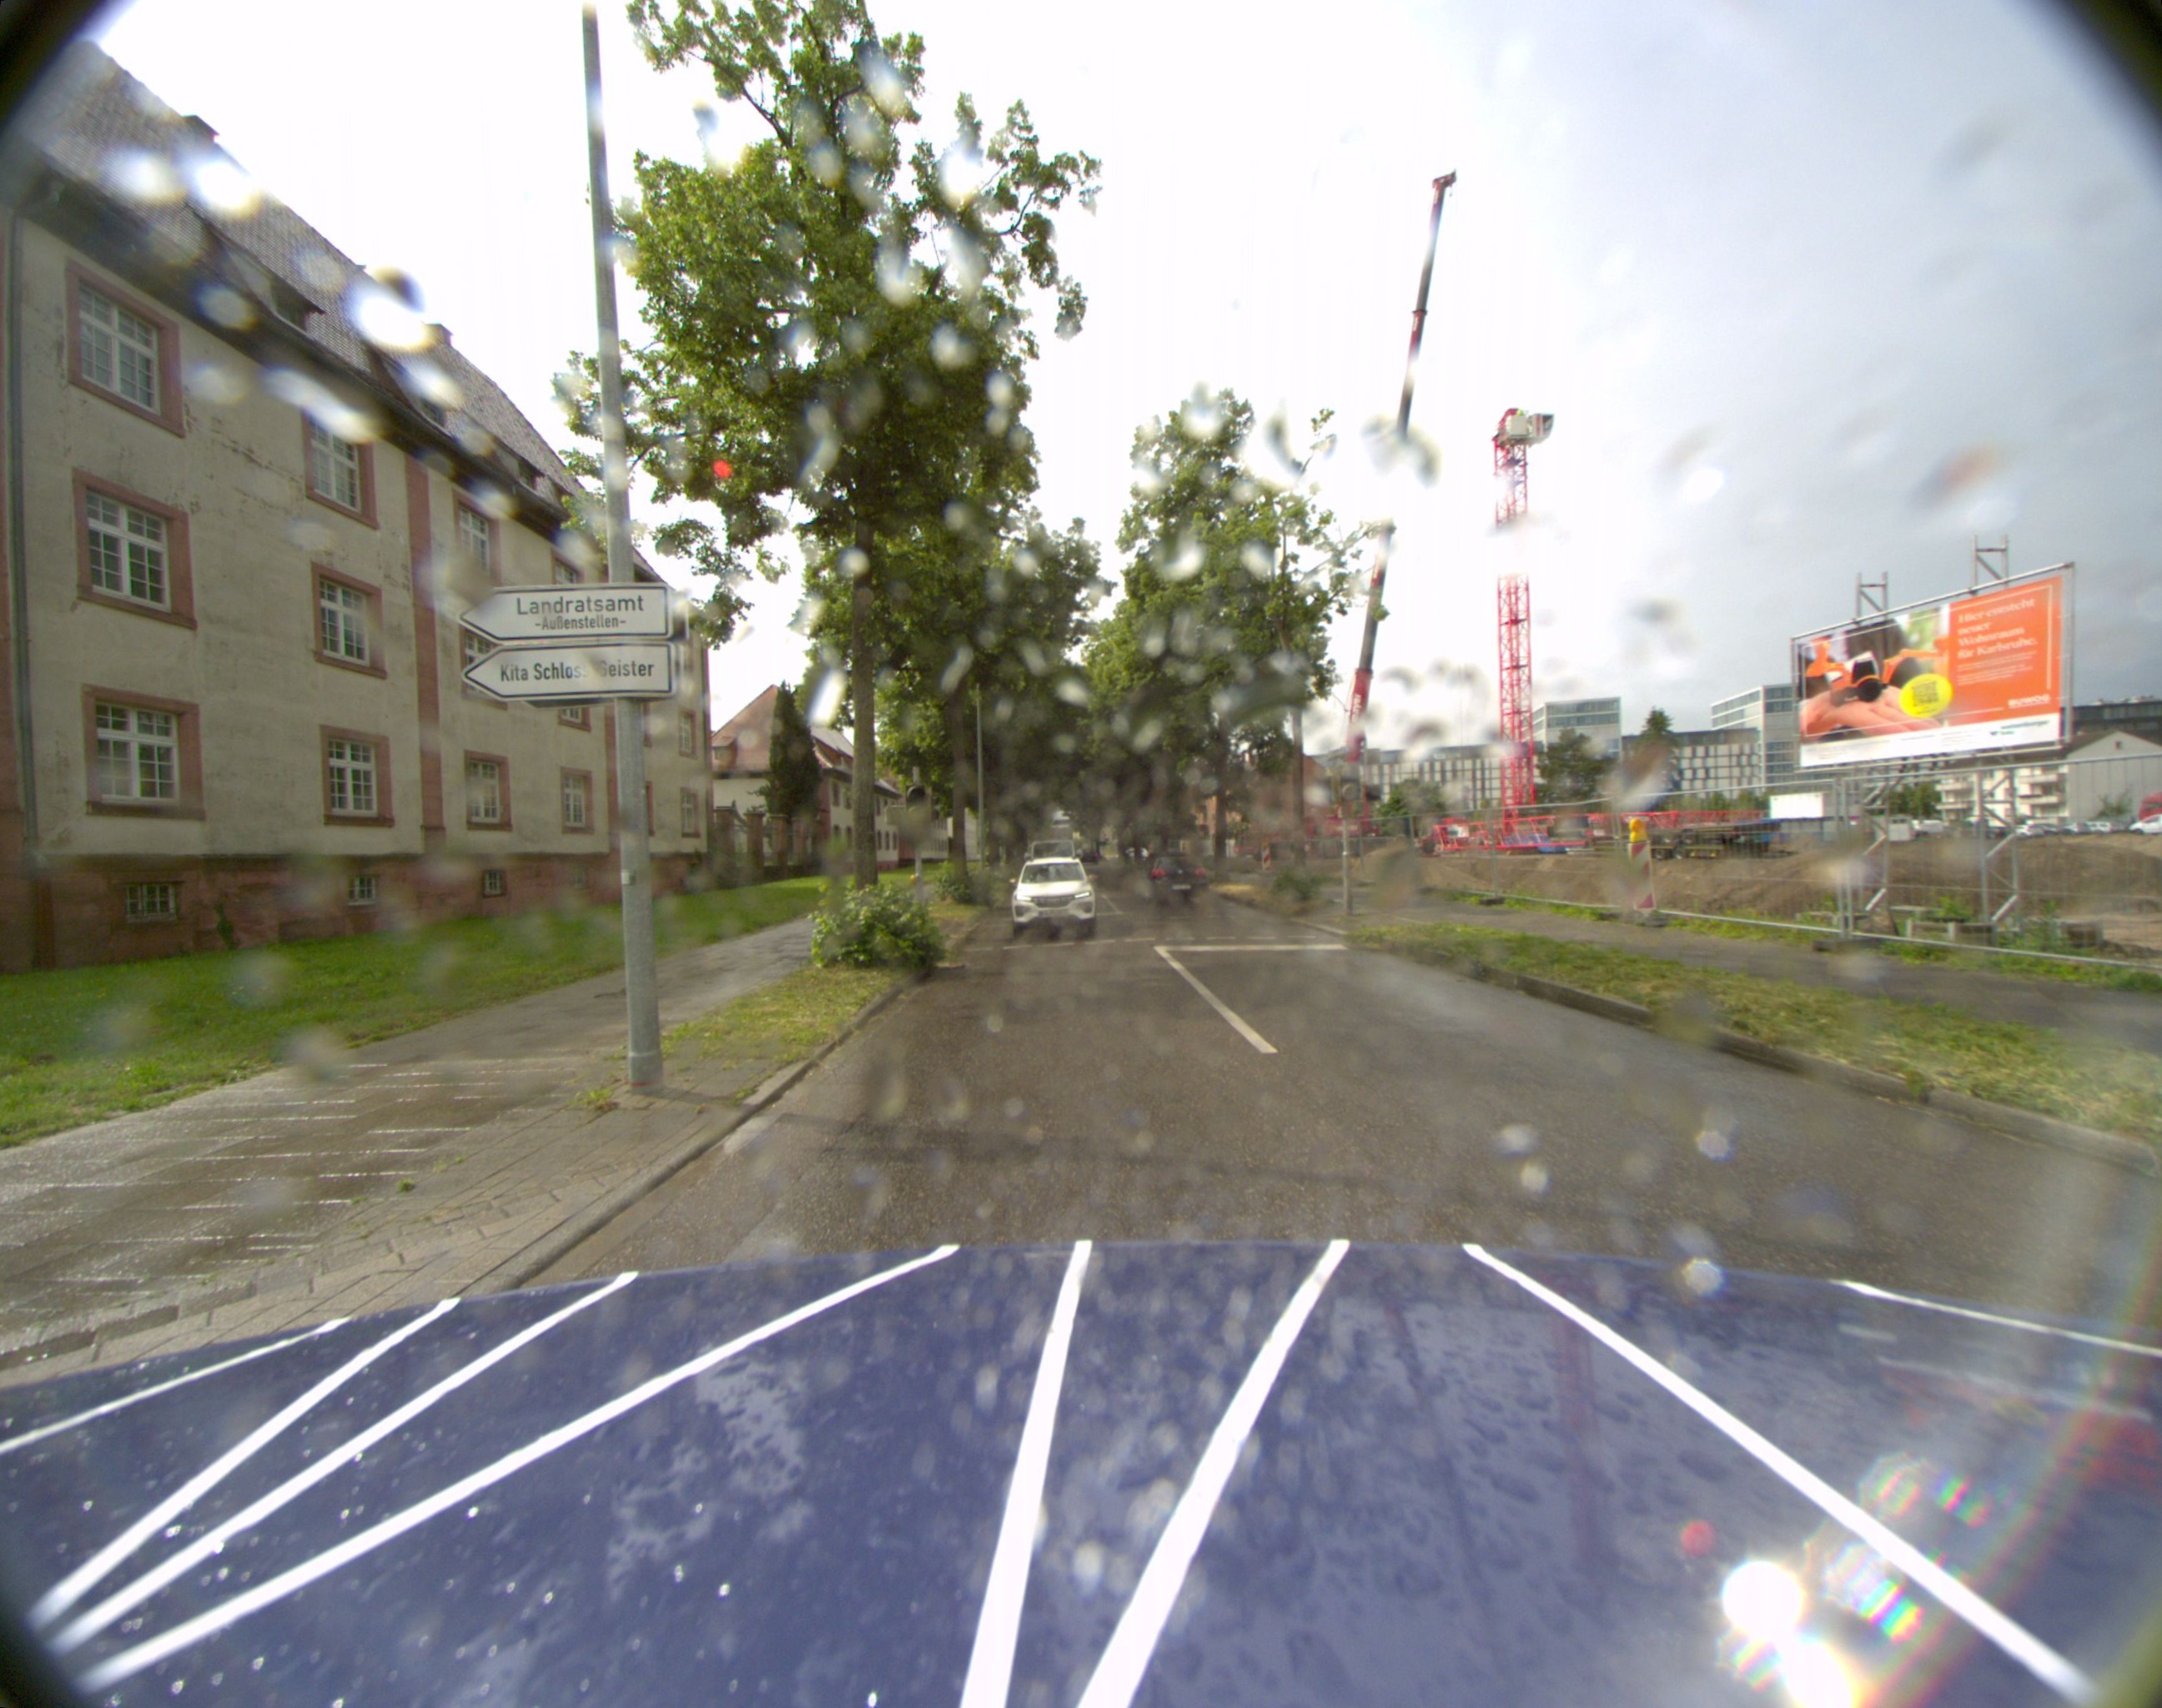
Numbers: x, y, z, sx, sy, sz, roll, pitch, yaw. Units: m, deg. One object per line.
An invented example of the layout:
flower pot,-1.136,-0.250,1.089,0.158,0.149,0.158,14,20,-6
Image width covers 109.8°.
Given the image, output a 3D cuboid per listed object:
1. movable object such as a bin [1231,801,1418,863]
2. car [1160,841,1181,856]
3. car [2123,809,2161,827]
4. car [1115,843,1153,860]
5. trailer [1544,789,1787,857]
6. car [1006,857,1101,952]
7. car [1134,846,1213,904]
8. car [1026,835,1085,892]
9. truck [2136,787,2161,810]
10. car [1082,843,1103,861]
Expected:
movable object such as a bin,22.127,-2.000,69.668,15.945,4.533,3.101,-4,2,1
car,10.352,-0.651,88.186,1.694,1.521,3.997,-4,2,-4
car,97.377,-3.229,68.044,1.821,1.509,4.579,-4,2,1
car,5.764,-0.284,83.375,3.871,1.543,1.697,-4,2,-4
trailer,34.257,-1.757,45.982,2.968,3.215,14.303,-6,2,-2
car,-0.544,0.902,15.432,1.609,1.499,3.998,-3,1,-2
car,2.667,0.559,22.839,1.845,1.598,3.999,0,1,-1
car,-1.153,0.303,31.375,2.108,1.990,5.431,-4,2,-4
truck,102.600,-5.296,69.835,1.901,2.068,6.318,-4,2,-19
car,0.995,-0.213,69.184,1.818,1.532,3.980,-1,1,-1
